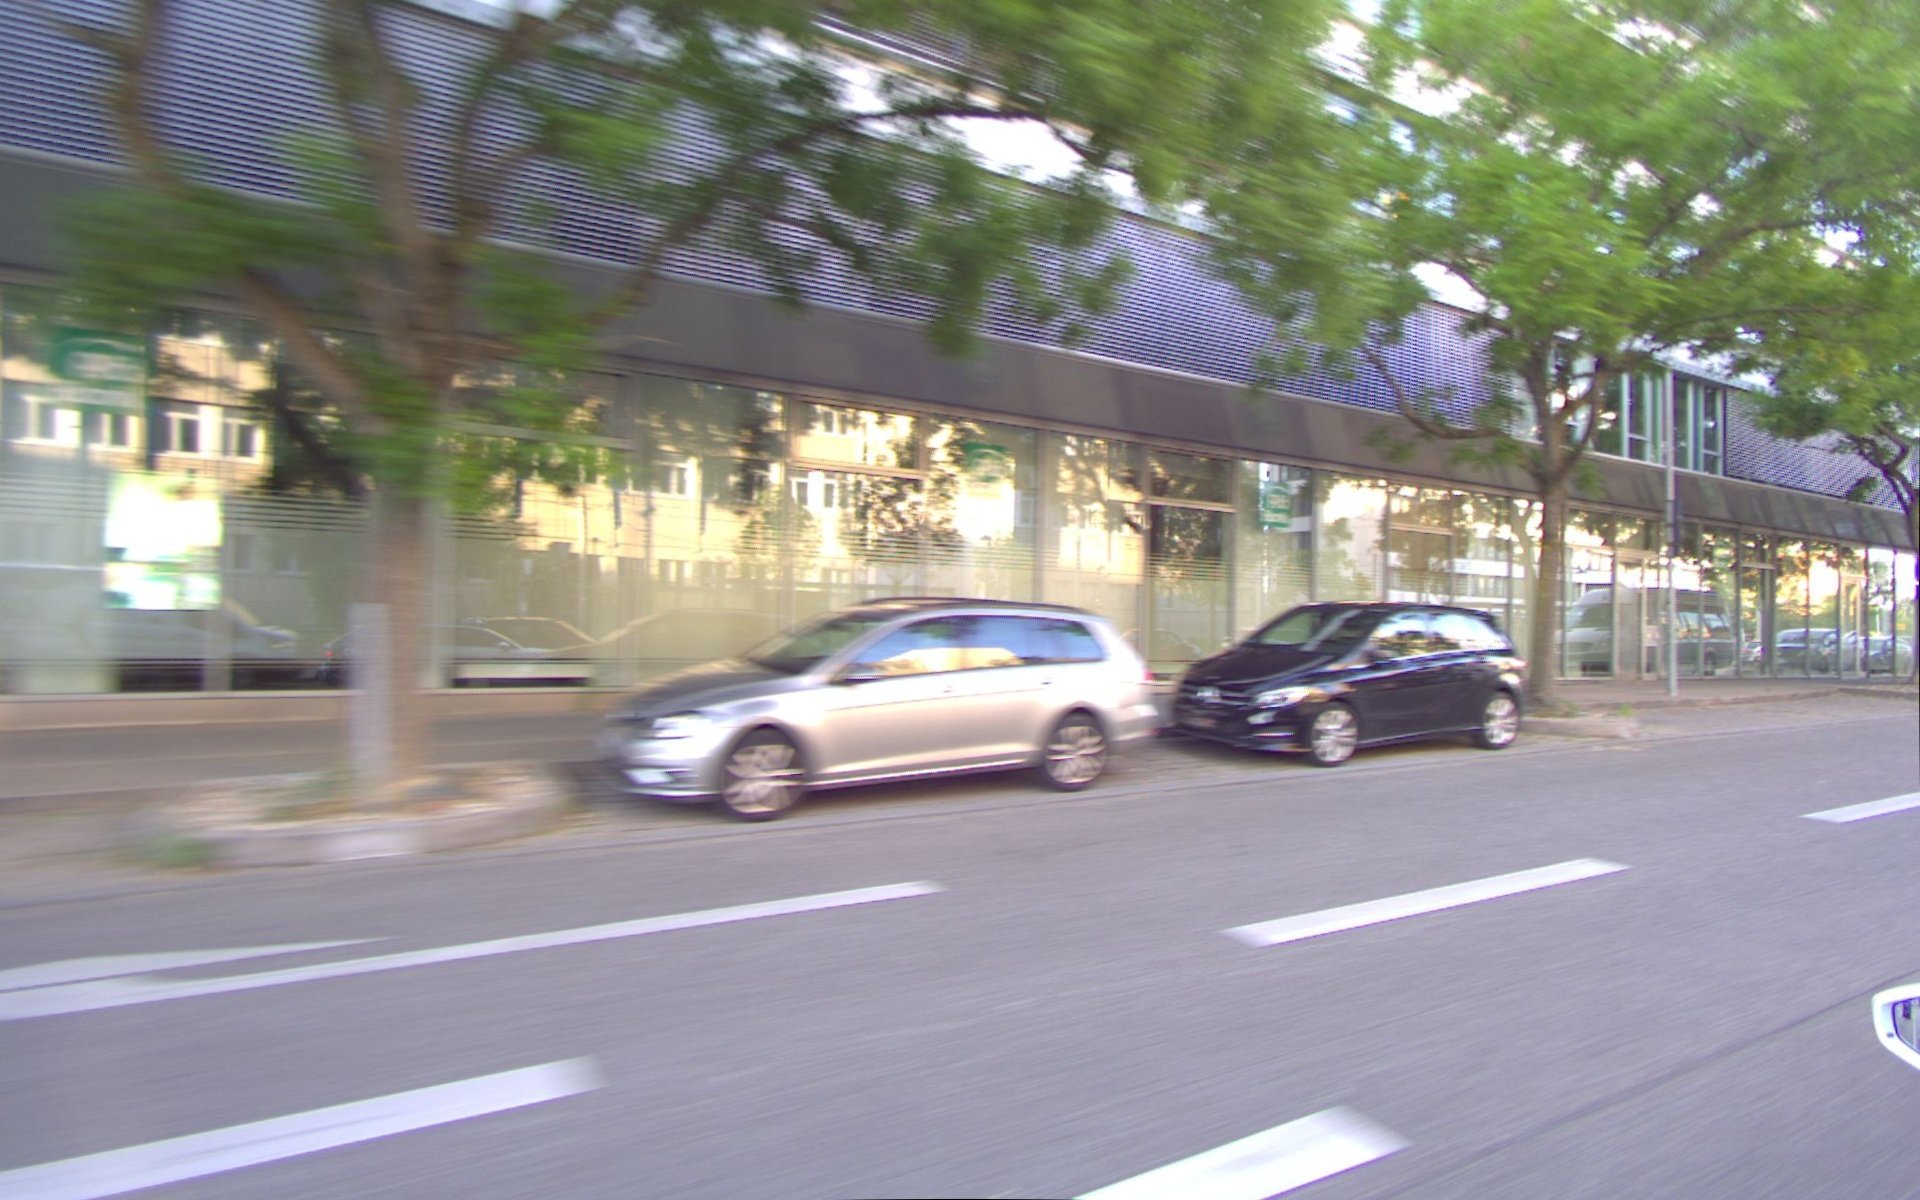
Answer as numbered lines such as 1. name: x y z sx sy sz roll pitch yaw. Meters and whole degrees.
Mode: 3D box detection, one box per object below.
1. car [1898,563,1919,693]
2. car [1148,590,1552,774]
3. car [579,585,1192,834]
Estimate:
1. car: 23.307 0.664 22.030 6.868 2.699 2.091 2 -1 -30
2. car: 4.252 0.776 10.742 4.419 1.590 1.582 1 2 -30
3. car: -0.472 0.708 7.995 4.572 1.481 1.695 1 2 -30
